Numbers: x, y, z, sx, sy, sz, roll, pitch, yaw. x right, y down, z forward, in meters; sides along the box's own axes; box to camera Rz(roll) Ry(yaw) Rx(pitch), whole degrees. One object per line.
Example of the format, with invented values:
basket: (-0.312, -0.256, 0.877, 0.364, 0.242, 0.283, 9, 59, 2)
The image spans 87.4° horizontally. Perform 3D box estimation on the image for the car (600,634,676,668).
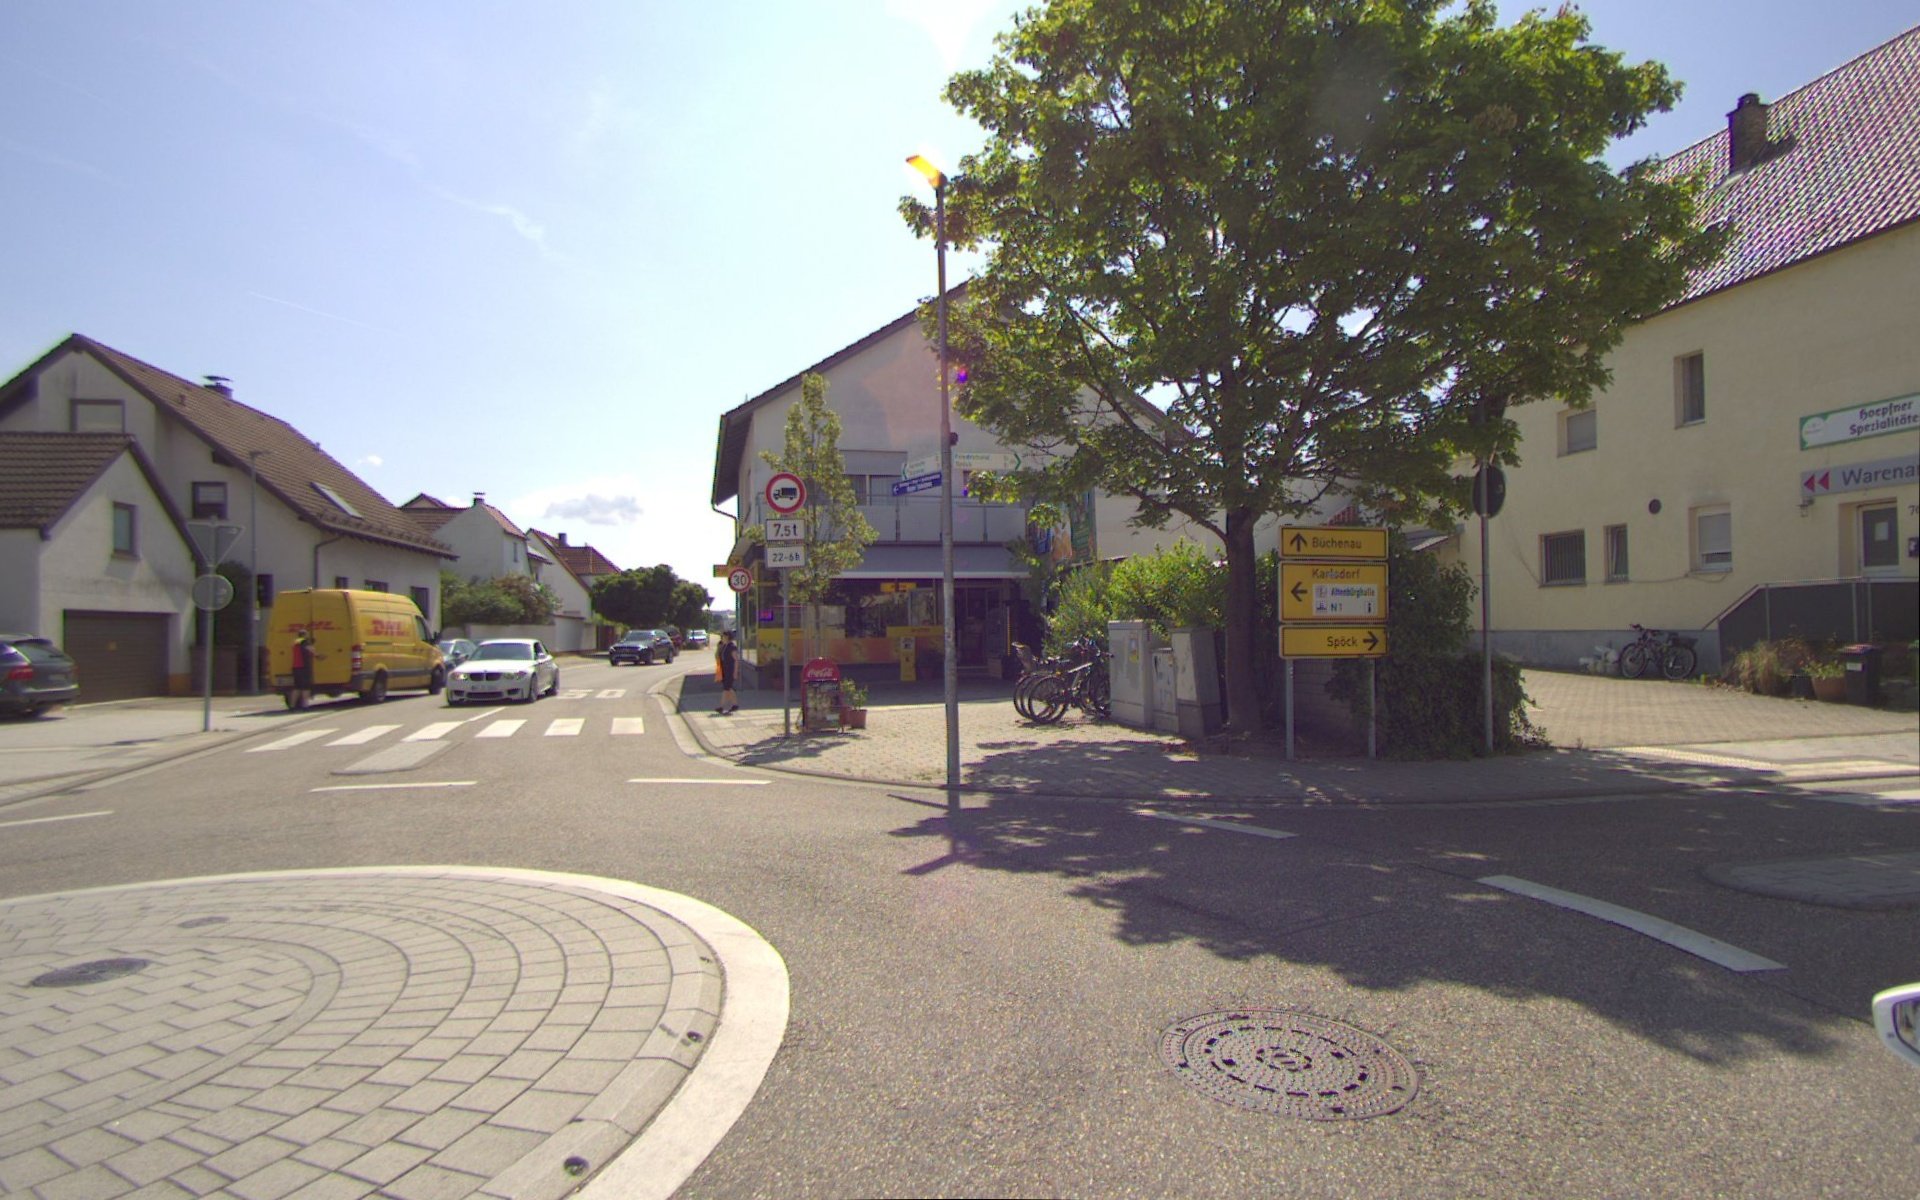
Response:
car: (-14.988, 2.361, 47.055, 1.842, 1.369, 4.419, 0, 0, 5)

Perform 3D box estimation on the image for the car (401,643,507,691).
car: (-16.269, 2.127, 32.528, 1.753, 1.261, 3.970, -1, 0, -6)

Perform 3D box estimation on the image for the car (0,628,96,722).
car: (-20.210, 1.451, 19.587, 4.668, 1.762, 1.982, 0, -1, -13)

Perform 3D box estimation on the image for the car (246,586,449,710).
car: (-14.650, 1.124, 24.512, 2.074, 2.606, 5.678, -1, -2, -7)

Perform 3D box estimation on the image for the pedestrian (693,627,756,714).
pedestrian: (-4.521, 1.345, 19.345, 0.737, 1.610, 0.878, -2, -1, 31)

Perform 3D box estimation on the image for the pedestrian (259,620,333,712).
pedestrian: (-14.055, 1.378, 21.296, 1.004, 1.850, 0.782, -2, 0, -8)

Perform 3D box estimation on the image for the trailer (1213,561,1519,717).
trailer: (6.680, 0.582, 16.692, 4.444, 2.367, 1.881, -1, 0, -12)

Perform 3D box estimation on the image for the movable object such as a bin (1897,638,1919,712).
movable object such as a bin: (14.531, 1.116, 14.925, 0.646, 1.093, 0.600, -1, -1, -10)

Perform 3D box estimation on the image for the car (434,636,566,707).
car: (-10.707, 1.602, 23.716, 1.847, 1.468, 4.327, -1, -2, -11)

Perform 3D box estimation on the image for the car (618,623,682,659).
car: (-17.260, 2.279, 56.168, 1.836, 1.858, 3.976, -1, 0, 9)

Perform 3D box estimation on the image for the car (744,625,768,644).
car: (-20.665, 3.436, 101.672, 2.059, 1.878, 4.115, 0, -1, -17)

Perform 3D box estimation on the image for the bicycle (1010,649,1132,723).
bicycle: (1.766, 1.343, 15.886, 1.955, 1.017, 0.399, -2, 0, -25)

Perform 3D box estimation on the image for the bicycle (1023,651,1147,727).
bicycle: (1.938, 1.345, 15.466, 1.955, 1.017, 0.399, -2, 0, -25)

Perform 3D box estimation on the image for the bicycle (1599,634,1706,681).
bicycle: (14.534, 1.185, 21.154, 0.532, 0.925, 2.175, -1, -2, -7)

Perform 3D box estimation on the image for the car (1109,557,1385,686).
car: (6.220, 0.415, 21.937, 5.548, 2.601, 1.939, -1, 0, -12)

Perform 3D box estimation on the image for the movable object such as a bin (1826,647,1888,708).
movable object such as a bin: (14.201, 1.217, 15.913, 0.537, 0.940, 0.480, -1, -1, -10)

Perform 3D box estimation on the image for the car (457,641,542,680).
car: (-17.505, 2.273, 38.407, 1.753, 1.261, 3.970, -1, 0, -6)

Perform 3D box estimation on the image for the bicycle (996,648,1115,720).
bicycle: (1.568, 1.342, 16.290, 1.955, 1.017, 0.399, -2, 0, -25)
